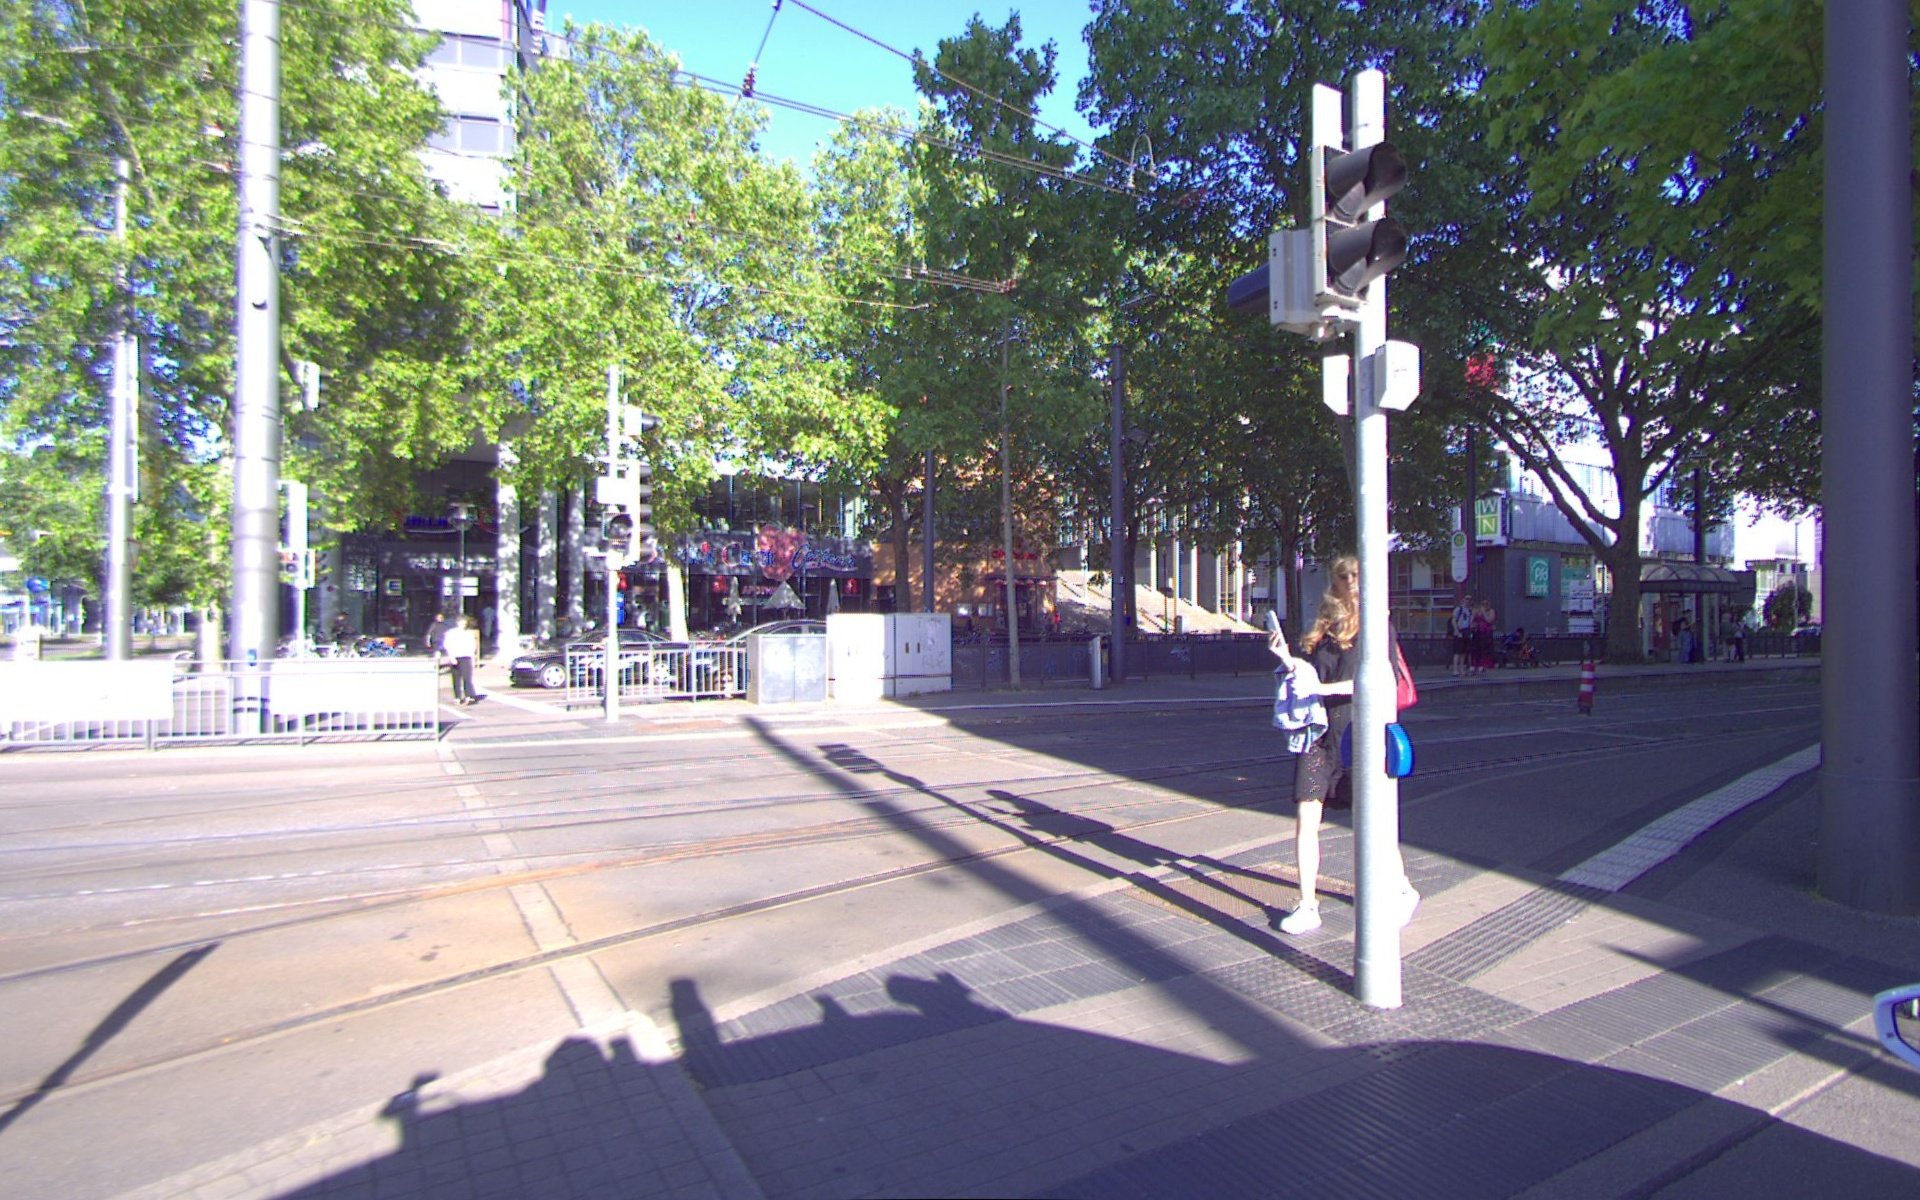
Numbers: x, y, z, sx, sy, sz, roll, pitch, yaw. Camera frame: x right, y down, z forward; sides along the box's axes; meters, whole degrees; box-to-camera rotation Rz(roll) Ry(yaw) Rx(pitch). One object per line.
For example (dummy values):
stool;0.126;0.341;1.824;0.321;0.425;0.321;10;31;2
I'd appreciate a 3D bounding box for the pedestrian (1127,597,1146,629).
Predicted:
pedestrian;9.195;0.692;52.258;0.698;1.674;0.693;0;-1;-31

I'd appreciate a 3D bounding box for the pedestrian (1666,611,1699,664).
pedestrian;21.841;1.134;30.379;0.658;1.594;0.486;-1;0;12

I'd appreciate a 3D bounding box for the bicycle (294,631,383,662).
bicycle;-23.172;1.735;37.521;2.647;1.118;0.893;0;-2;-16

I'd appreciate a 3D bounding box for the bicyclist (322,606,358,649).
bicyclist;-23.171;1.043;37.546;0.924;1.569;0.893;0;-2;-16

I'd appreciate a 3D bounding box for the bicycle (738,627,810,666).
bicycle;-7.014;1.706;37.689;1.028;1.371;3.319;1;-2;-44

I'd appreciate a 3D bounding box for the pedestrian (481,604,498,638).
pedestrian;-23.292;1.060;49.751;0.695;1.674;0.695;0;-1;-20

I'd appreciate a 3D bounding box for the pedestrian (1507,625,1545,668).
pedestrian;15.974;1.298;28.351;0.732;1.179;0.591;0;-1;-15

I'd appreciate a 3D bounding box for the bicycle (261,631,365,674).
bicycle;-17.695;1.430;27.530;2.338;1.143;0.594;1;-2;-30

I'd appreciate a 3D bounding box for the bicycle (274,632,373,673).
bicycle;-18.163;1.493;28.712;2.338;1.143;0.594;1;-2;-30

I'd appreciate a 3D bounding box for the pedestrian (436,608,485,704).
pedestrian;-9.030;1.007;18.178;0.706;1.702;0.827;0;-3;-21

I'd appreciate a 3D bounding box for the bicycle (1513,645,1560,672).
bicycle;16.189;1.637;28.204;1.676;0.698;0.391;1;-1;-31

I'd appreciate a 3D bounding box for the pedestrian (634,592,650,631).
pedestrian;-14.966;0.549;47.282;0.695;1.791;0.696;0;-1;-18

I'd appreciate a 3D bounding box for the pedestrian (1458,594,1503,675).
pedestrian;11.949;0.786;23.076;0.730;1.853;0.592;0;-1;0

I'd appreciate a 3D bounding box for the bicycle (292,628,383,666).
bicycle;-19.125;1.430;30.942;2.338;1.143;0.594;1;-2;-30

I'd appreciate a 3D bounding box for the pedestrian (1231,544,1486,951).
pedestrian;1.846;0.636;4.717;0.819;1.702;0.713;0;-3;-23

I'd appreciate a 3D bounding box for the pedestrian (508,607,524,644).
pedestrian;-20.240;1.171;45.798;0.689;1.674;0.702;0;-1;-24

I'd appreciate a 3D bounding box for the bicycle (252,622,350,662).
bicycle;-19.239;1.223;29.396;2.338;1.143;0.594;1;-2;-30

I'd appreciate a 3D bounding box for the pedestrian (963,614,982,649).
pedestrian;0.606;1.524;49.117;0.698;1.674;0.693;0;-1;-31

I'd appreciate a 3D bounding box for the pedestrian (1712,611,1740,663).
pedestrian;24.004;1.161;31.476;0.488;1.594;0.499;-1;0;-27

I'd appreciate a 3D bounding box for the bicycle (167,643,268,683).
bicycle;-22.196;1.874;30.089;2.337;1.143;0.594;1;-2;-29

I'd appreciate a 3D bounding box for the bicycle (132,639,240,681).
bicycle;-21.919;1.685;28.511;2.337;1.143;0.594;1;-2;-29

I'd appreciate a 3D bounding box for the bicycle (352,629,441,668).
bicycle;-17.266;1.479;30.842;2.338;1.143;0.594;1;-2;-30

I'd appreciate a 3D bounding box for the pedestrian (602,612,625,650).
pedestrian;-15.332;1.365;44.476;0.692;1.674;0.698;0;-1;23

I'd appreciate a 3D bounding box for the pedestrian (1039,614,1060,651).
pedestrian;4.064;1.450;45.452;0.697;1.674;0.693;0;-1;-30

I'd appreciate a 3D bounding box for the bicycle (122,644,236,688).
bicycle;-21.143;1.775;27.257;2.337;1.143;0.594;1;-2;-29

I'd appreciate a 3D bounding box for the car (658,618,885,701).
car;-3.569;1.099;19.243;3.955;1.433;1.657;2;-2;-31

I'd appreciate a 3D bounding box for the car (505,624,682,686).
car;-9.163;1.350;25.156;3.952;1.425;1.659;2;-1;-29

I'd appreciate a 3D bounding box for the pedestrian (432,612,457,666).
pedestrian;-16.689;1.269;32.511;0.707;1.702;0.826;1;-3;-28

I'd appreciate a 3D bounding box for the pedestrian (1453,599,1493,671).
pedestrian;13.265;0.904;25.979;0.732;1.824;0.591;0;-1;-15

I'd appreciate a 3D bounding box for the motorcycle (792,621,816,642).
motorcycle;-8.136;1.628;52.364;0.819;1.072;2.333;0;-1;-19

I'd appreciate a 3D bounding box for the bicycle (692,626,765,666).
bicycle;-8.368;1.623;36.194;1.028;1.371;3.319;1;-2;-44

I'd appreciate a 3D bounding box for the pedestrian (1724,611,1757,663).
pedestrian;24.571;1.148;31.619;0.629;1.594;0.563;-1;0;-19

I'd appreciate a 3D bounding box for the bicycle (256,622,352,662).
bicycle;-19.519;1.250;29.961;2.338;1.143;0.594;1;-2;-30

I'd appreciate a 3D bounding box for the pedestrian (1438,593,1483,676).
pedestrian;11.322;0.771;22.718;0.737;1.853;0.630;0;-1;-36
